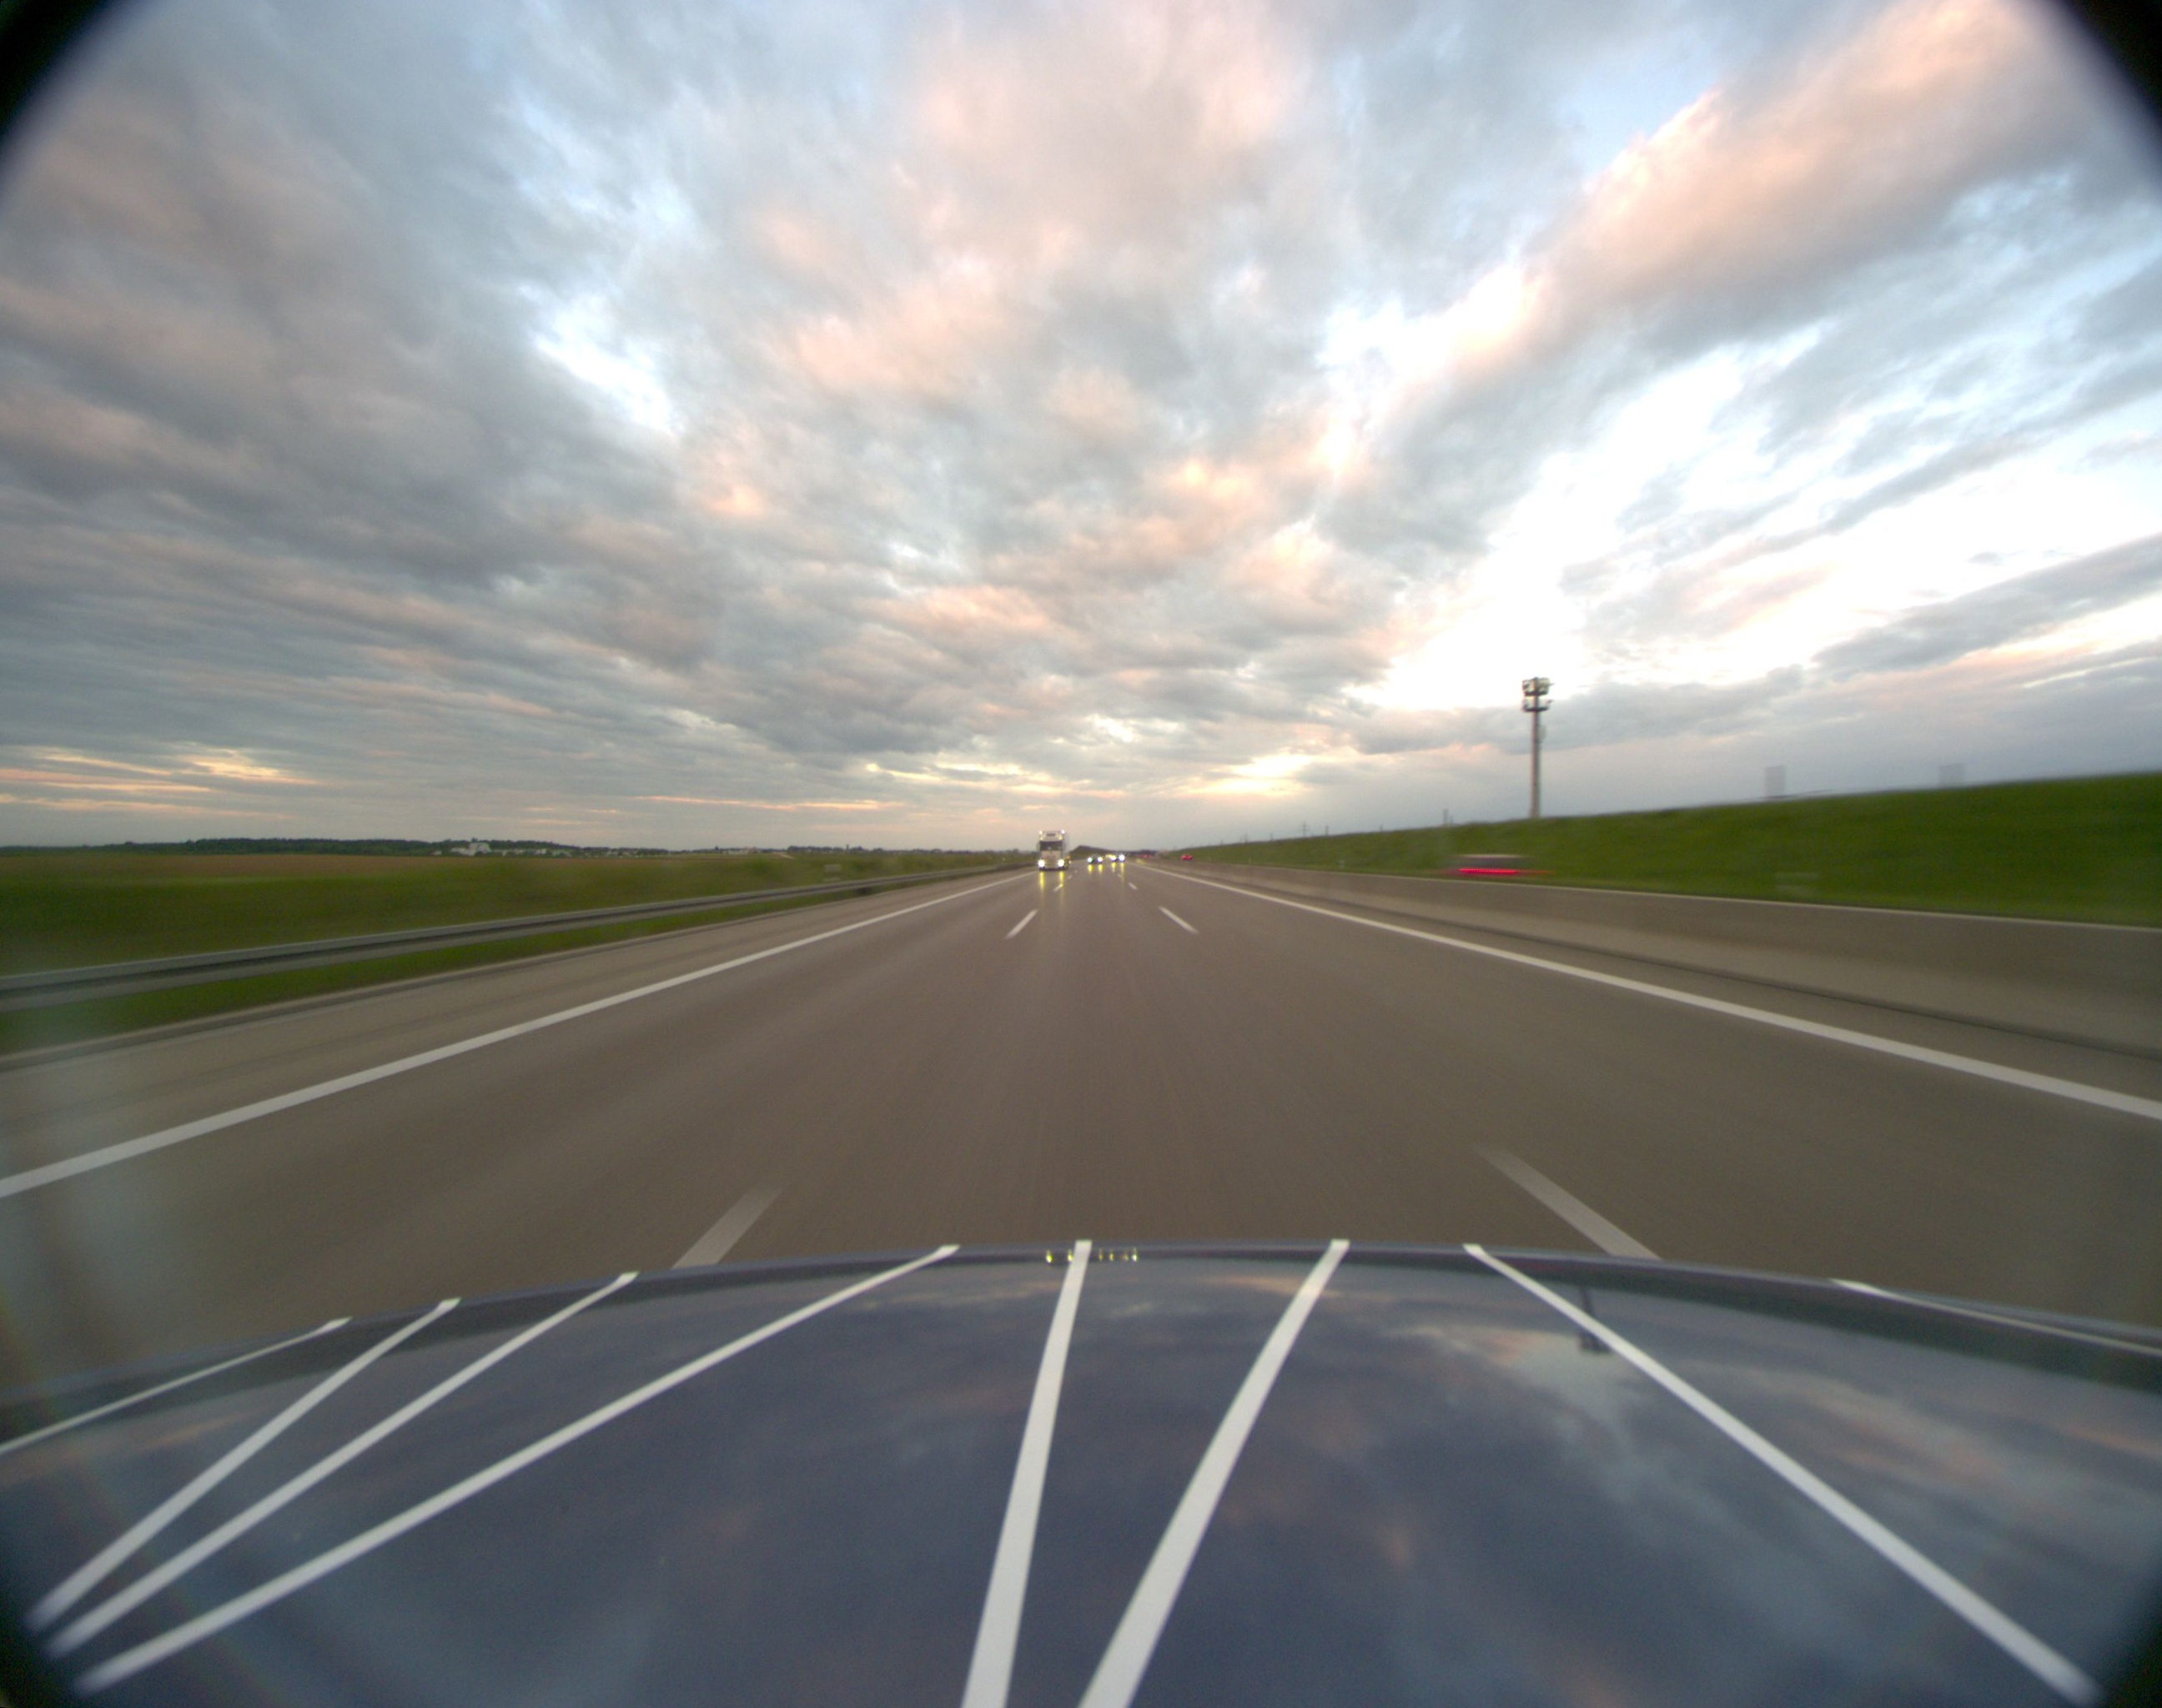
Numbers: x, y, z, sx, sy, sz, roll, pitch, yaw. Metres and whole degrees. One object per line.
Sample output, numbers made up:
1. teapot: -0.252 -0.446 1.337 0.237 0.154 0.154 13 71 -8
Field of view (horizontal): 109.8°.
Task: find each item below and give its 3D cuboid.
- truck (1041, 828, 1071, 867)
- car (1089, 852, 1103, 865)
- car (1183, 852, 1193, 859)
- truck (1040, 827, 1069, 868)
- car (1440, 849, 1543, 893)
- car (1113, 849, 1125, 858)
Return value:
1. truck: -2.663 -0.669 85.042 2.596 3.999 12.985 -1 0 1
2. car: 2.231 0.627 111.711 1.998 1.652 4.851 -2 1 2
3. car: 23.473 0.321 167.084 1.866 1.544 4.582 0 0 2
4. truck: -2.734 -0.645 78.709 2.596 3.999 5.859 -1 0 1
5. car: 15.977 0.618 29.830 1.857 1.583 4.106 0 0 1
6. car: 6.815 -0.091 138.077 1.998 1.652 4.000 -2 1 1
